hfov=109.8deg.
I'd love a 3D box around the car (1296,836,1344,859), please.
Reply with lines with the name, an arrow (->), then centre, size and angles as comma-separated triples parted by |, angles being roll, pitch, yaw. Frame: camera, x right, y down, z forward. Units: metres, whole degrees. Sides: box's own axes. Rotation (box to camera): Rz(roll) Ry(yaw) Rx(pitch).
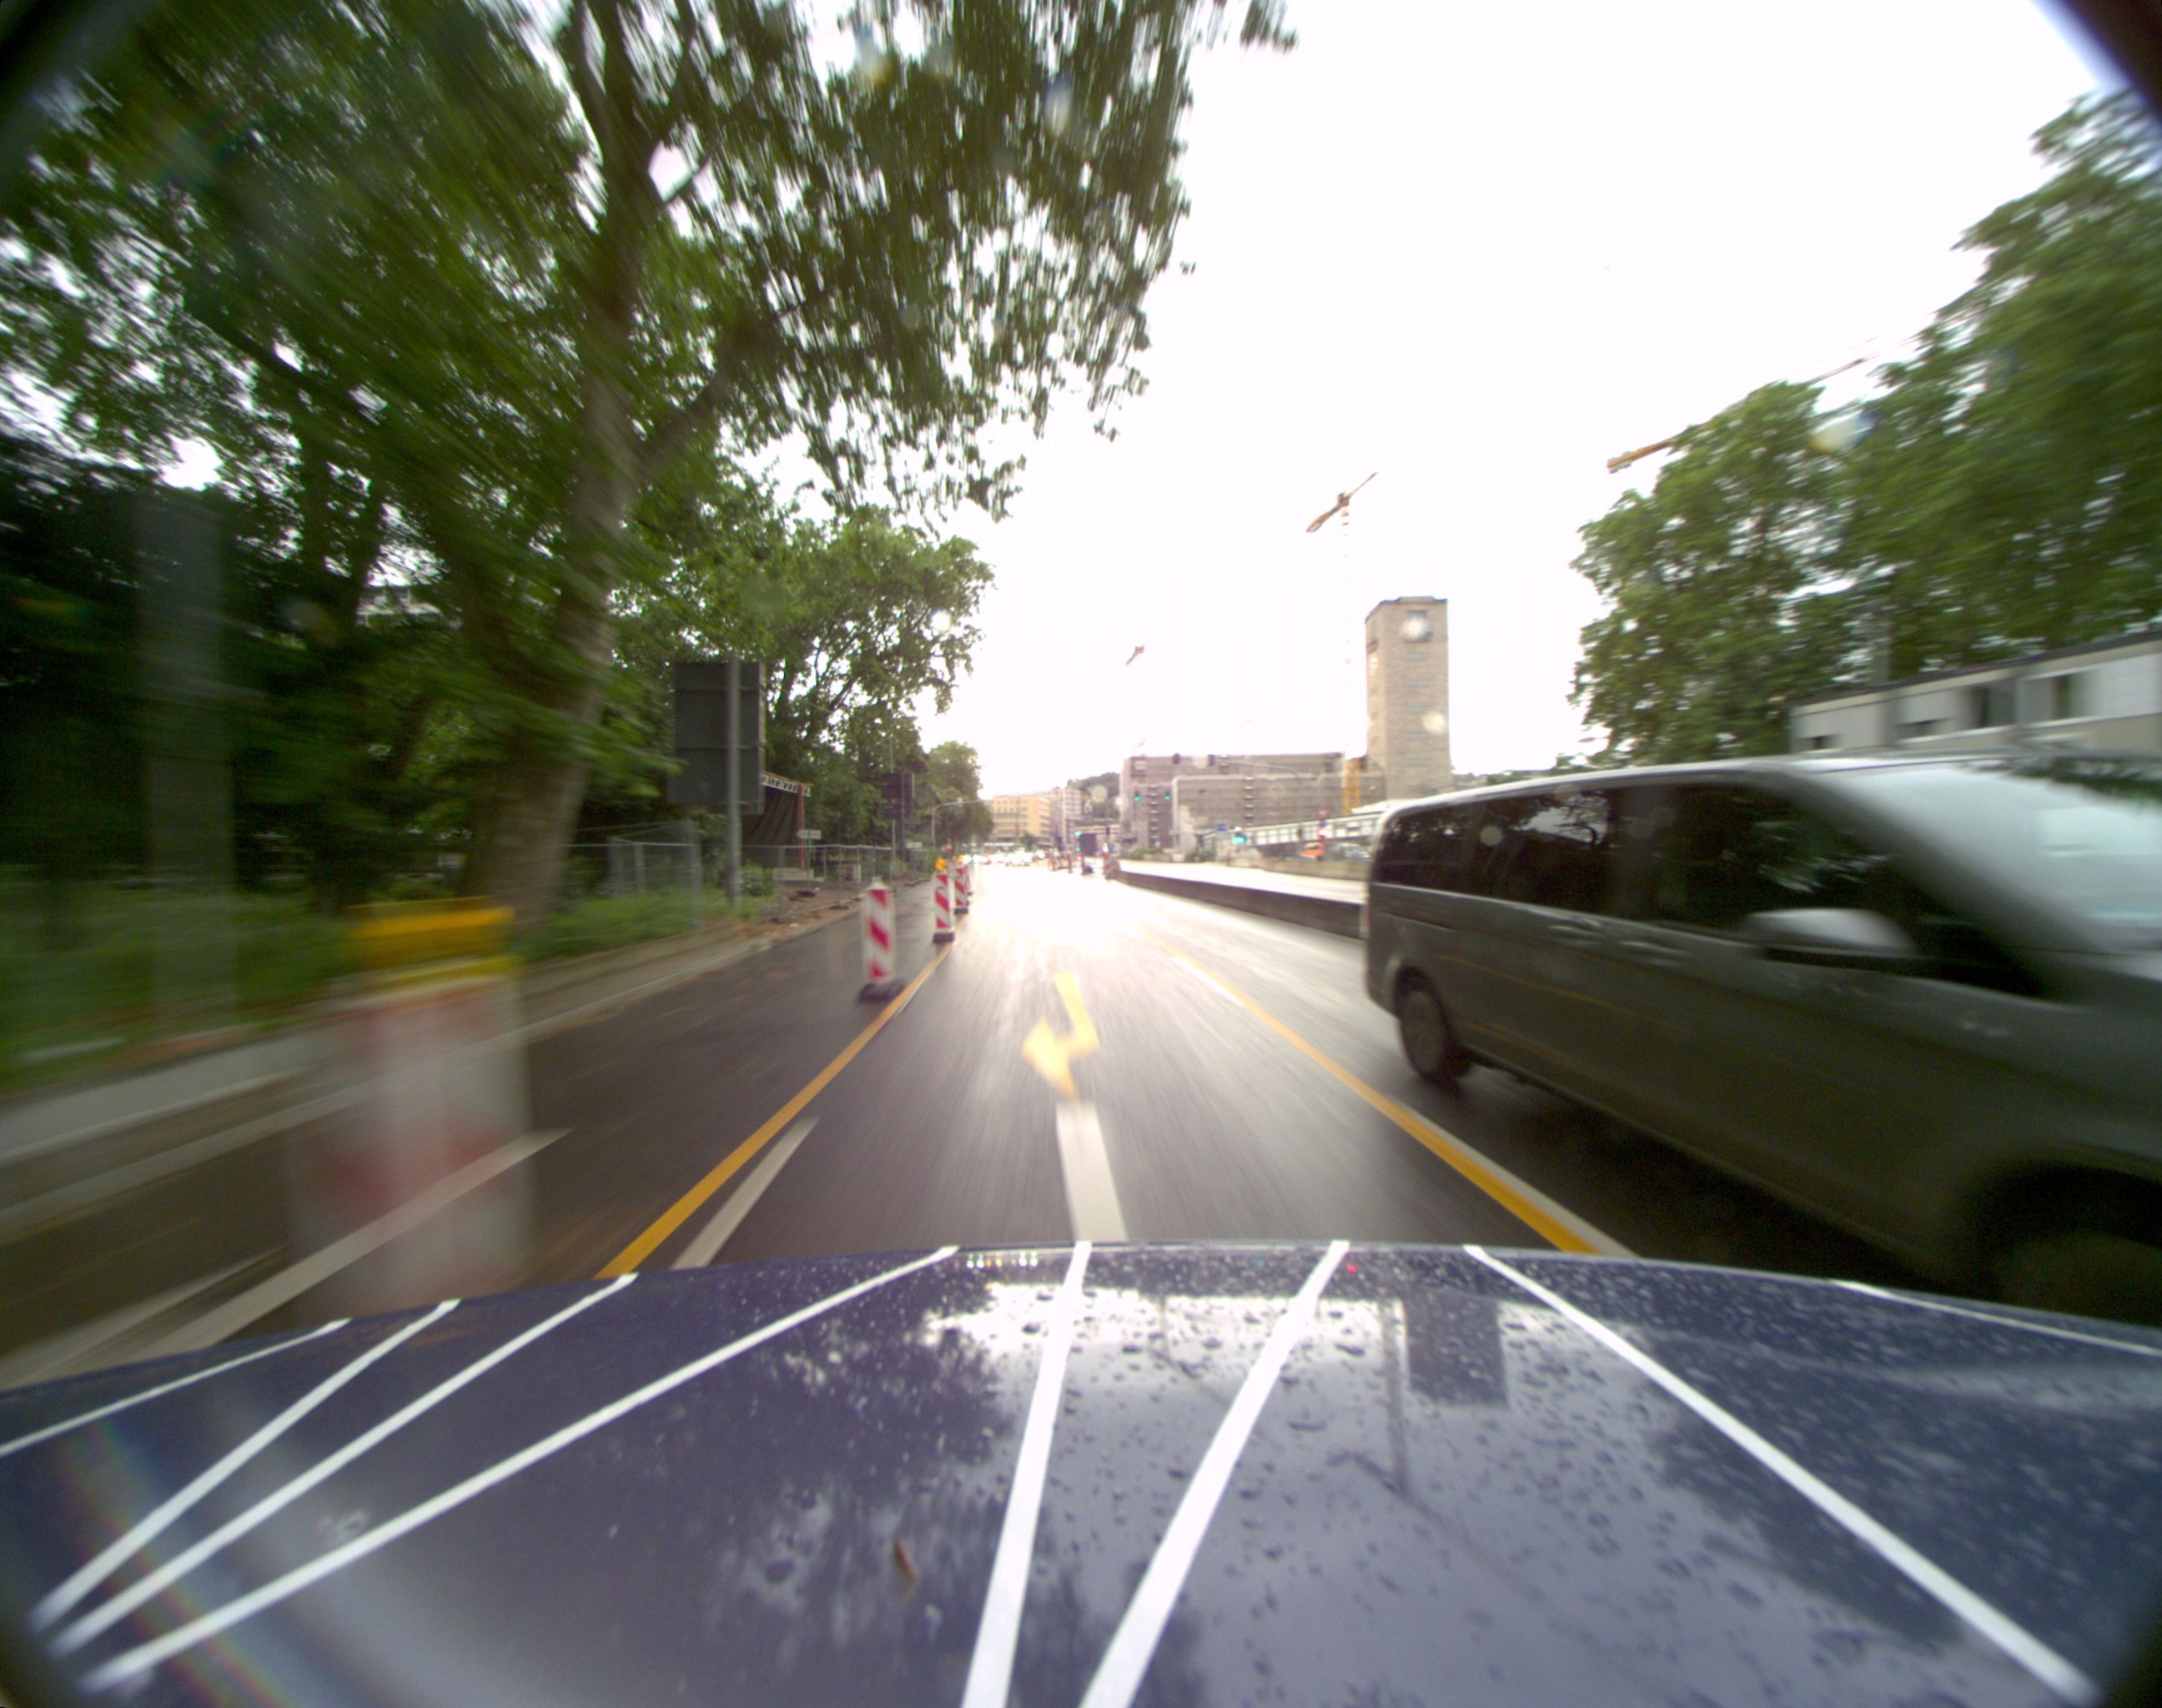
car -> 22.181, -0.614, 70.831 | 2.000, 2.088, 5.577 | 1, 0, -9

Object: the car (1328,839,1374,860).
car -> 22.995, -0.380, 64.959 | 1.851, 1.751, 4.794 | 0, 1, -6

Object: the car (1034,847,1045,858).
car -> -7.496, -0.268, 137.136 | 1.999, 1.804, 4.290 | 0, 1, -5

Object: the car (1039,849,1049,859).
car -> -7.993, -0.024, 164.132 | 1.999, 2.002, 3.999 | 0, 1, 0

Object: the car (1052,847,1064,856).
car -> -4.158, -0.464, 136.828 | 1.833, 1.643, 4.571 | 0, 0, -5

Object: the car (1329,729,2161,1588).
car -> 3.165, 0.631, 3.297 | 1.999, 1.845, 5.355 | -2, 0, -5

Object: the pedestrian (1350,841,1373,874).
pedestrian -> 17.968, 0.214, 48.644 | 1.182, 2.002, 1.174 | -2, 1, 11
